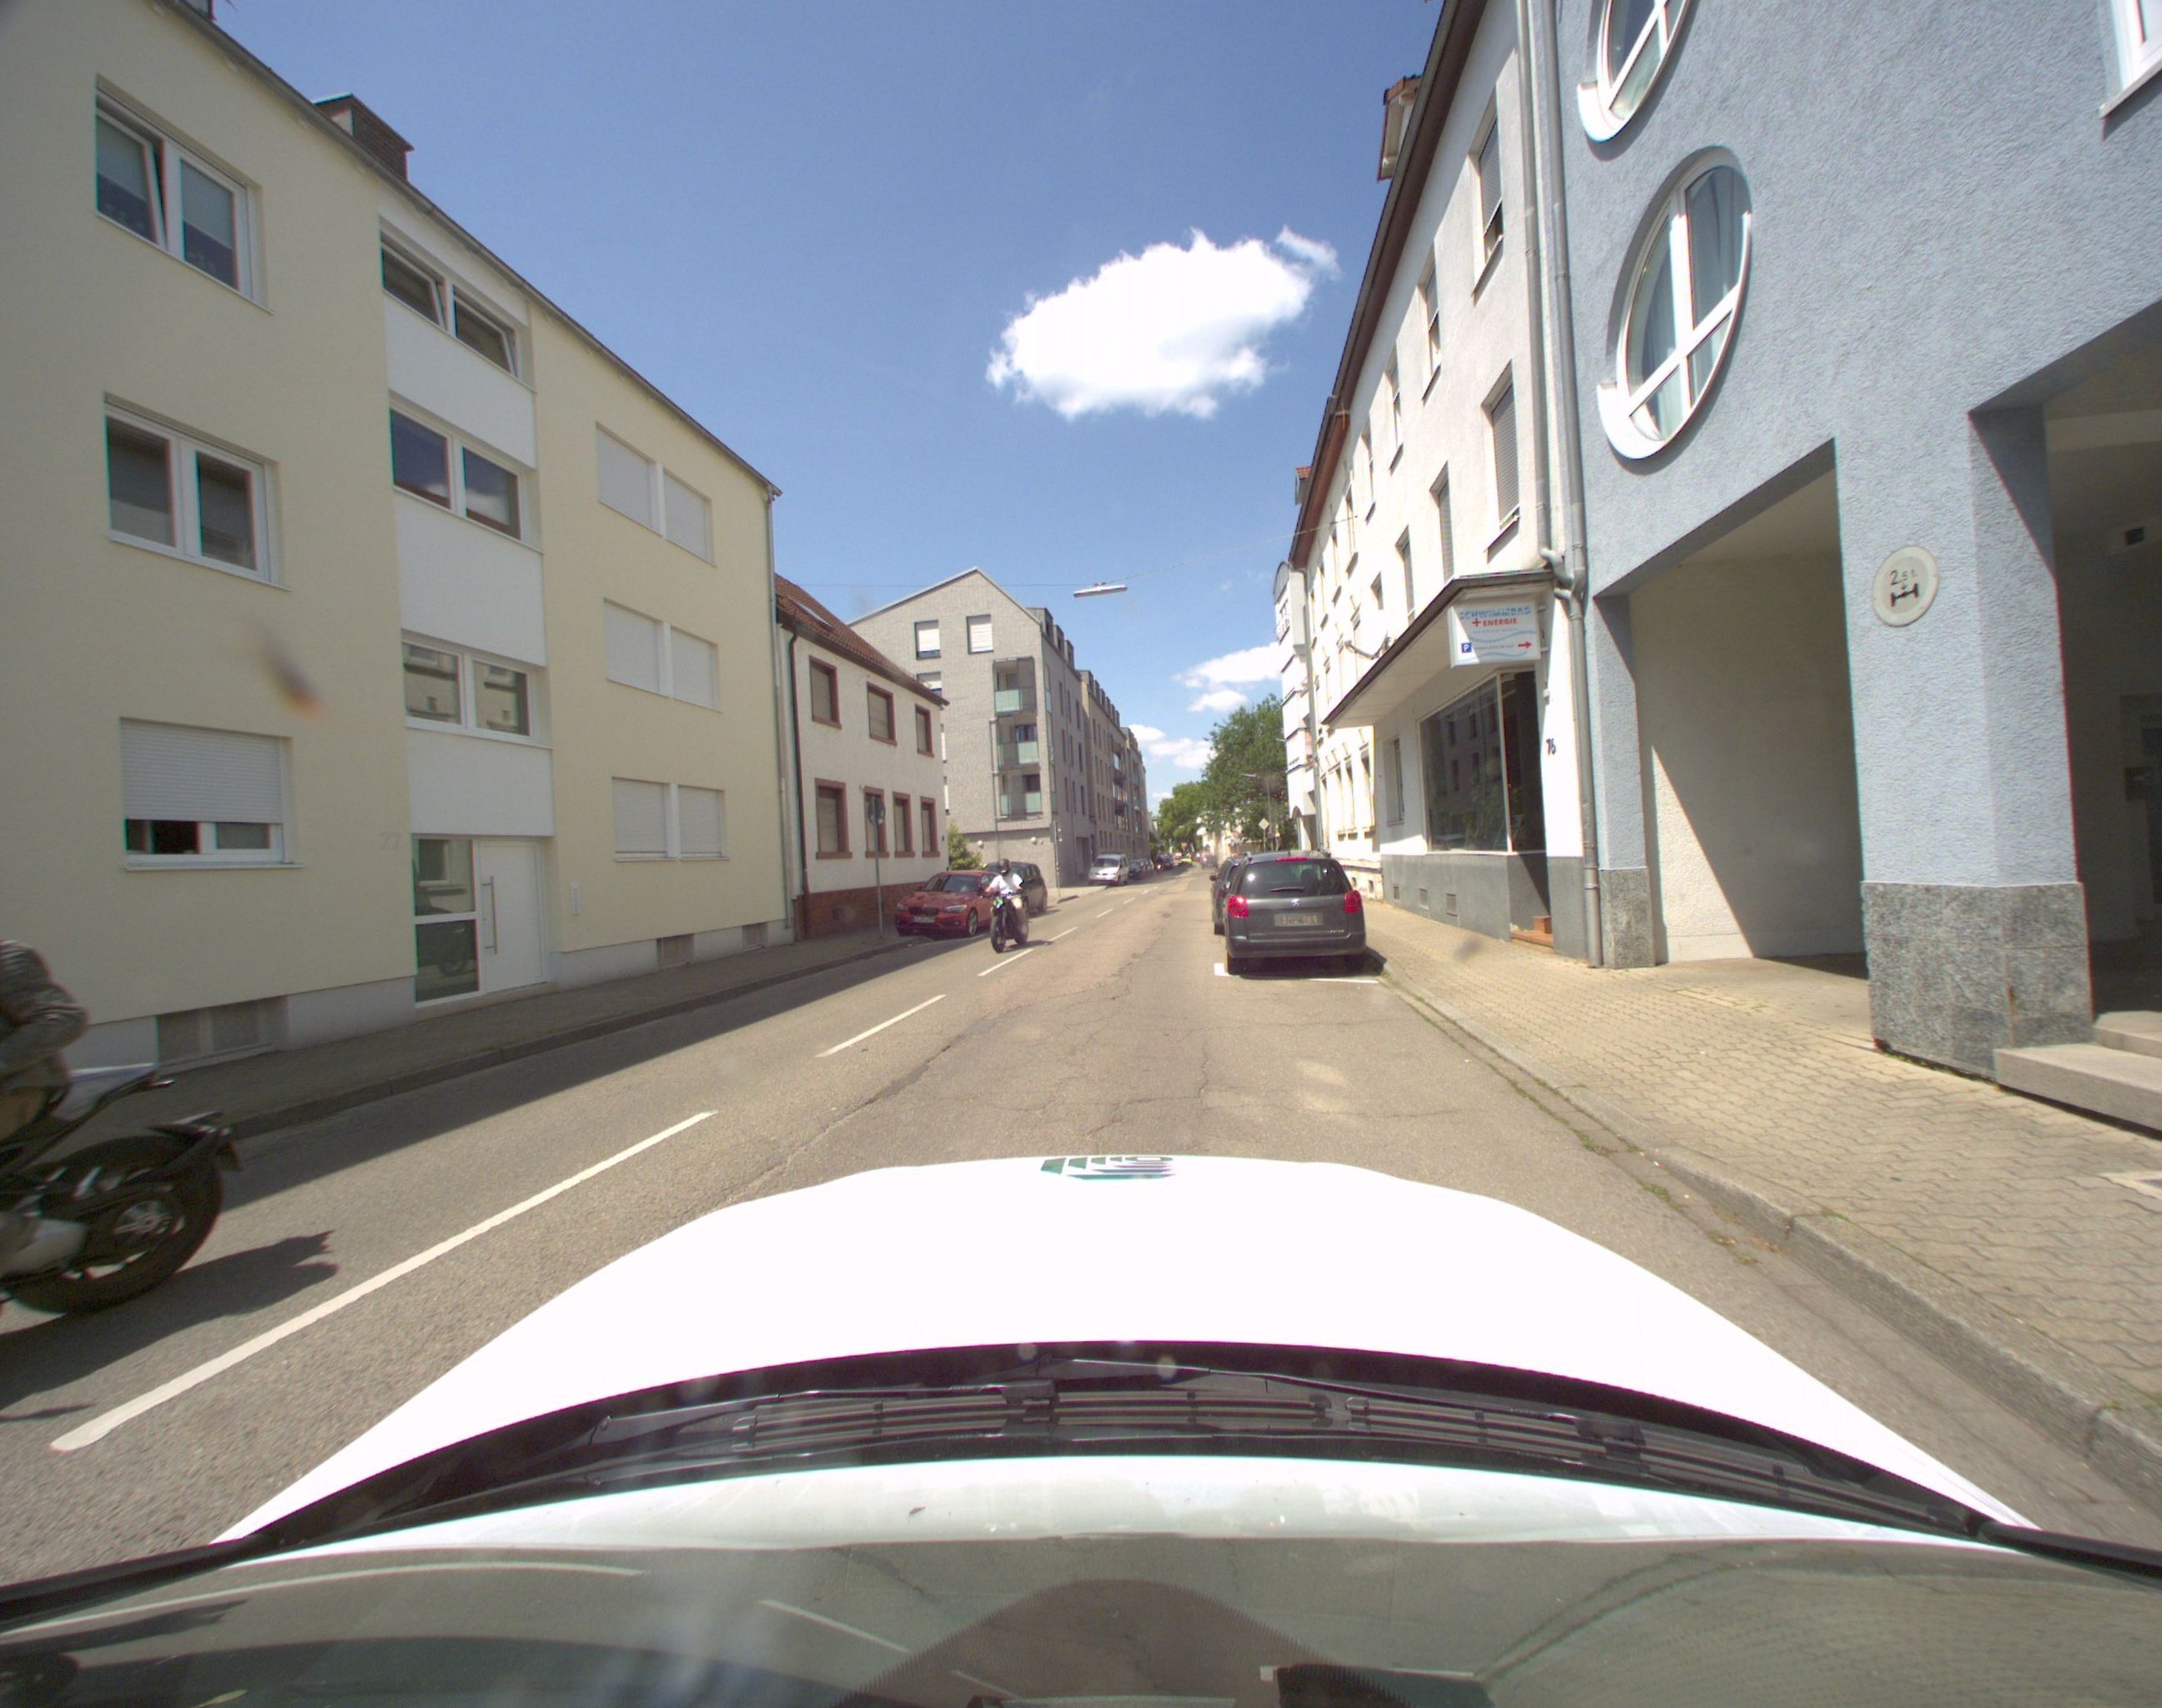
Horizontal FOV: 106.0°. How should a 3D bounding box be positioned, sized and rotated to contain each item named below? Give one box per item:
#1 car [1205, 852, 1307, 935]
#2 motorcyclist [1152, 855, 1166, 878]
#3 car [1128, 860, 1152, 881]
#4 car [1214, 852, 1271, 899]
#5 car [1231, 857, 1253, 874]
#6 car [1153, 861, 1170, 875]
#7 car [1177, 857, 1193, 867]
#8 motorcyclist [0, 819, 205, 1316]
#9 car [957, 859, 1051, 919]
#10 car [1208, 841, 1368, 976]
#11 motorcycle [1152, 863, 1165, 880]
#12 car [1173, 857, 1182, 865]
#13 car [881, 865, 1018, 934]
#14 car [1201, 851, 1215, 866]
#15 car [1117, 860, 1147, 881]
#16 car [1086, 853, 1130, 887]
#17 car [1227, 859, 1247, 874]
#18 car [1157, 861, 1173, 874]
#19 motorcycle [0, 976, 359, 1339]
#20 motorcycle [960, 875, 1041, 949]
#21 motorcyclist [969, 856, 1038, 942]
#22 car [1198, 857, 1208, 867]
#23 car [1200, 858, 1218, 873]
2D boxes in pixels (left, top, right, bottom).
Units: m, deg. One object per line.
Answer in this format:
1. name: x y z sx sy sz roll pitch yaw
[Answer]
1. car: 3.471 0.724 16.731 1.719 1.420 4.556 -2 -1 9
2. motorcyclist: 5.416 0.865 56.750 0.817 1.509 1.060 -3 -1 10
3. car: 4.697 1.310 64.853 1.581 1.554 3.579 -2 -1 9
4. car: 5.278 0.673 26.943 1.610 1.385 3.546 -2 -1 7
5. car: 15.044 1.048 76.209 1.683 1.420 4.009 -5 -1 8
6. car: 9.323 1.625 94.473 1.722 1.442 4.009 -2 -1 9
7. car: 15.048 1.140 117.200 1.981 1.381 4.406 0 0 11
8. motorcyclist: -3.933 0.718 2.747 0.708 1.634 1.072 -3 -1 13
9. car: -2.225 0.983 24.603 1.783 1.646 3.956 -1 -1 10
10. car: 2.697 0.659 11.428 1.700 1.508 4.009 -2 -1 8
11. motorcycle: 5.418 1.227 56.742 0.683 1.122 2.033 -3 -1 10
12. car: 26.759 2.028 226.125 2.147 2.014 4.004 -2 -1 4
13. car: -3.039 1.033 19.779 1.822 1.417 4.303 -2 -1 12
14. car: 18.268 0.660 117.113 1.828 2.013 4.011 -2 0 10
15. car: 3.774 1.188 59.594 1.712 1.456 4.016 -1 -1 10
16. car: 1.601 0.883 47.277 1.745 1.892 4.352 0 0 13
17. car: 15.790 1.219 82.377 1.769 1.420 4.009 -2 -1 8
18. car: 10.310 1.627 99.472 1.722 1.442 4.009 -2 -1 9
19. motorcycle: -3.923 1.093 2.709 0.708 1.028 2.247 -3 -1 13
20. motorcycle: -1.410 1.012 14.827 0.891 1.176 2.214 -2 -1 9
21. motorcyclist: -1.392 0.798 14.840 0.910 1.480 1.206 -2 -1 9
22. car: 20.785 1.293 138.846 1.702 1.634 3.711 -2 -1 7
23. car: 13.232 1.157 84.040 1.705 1.402 4.011 -3 0 9
